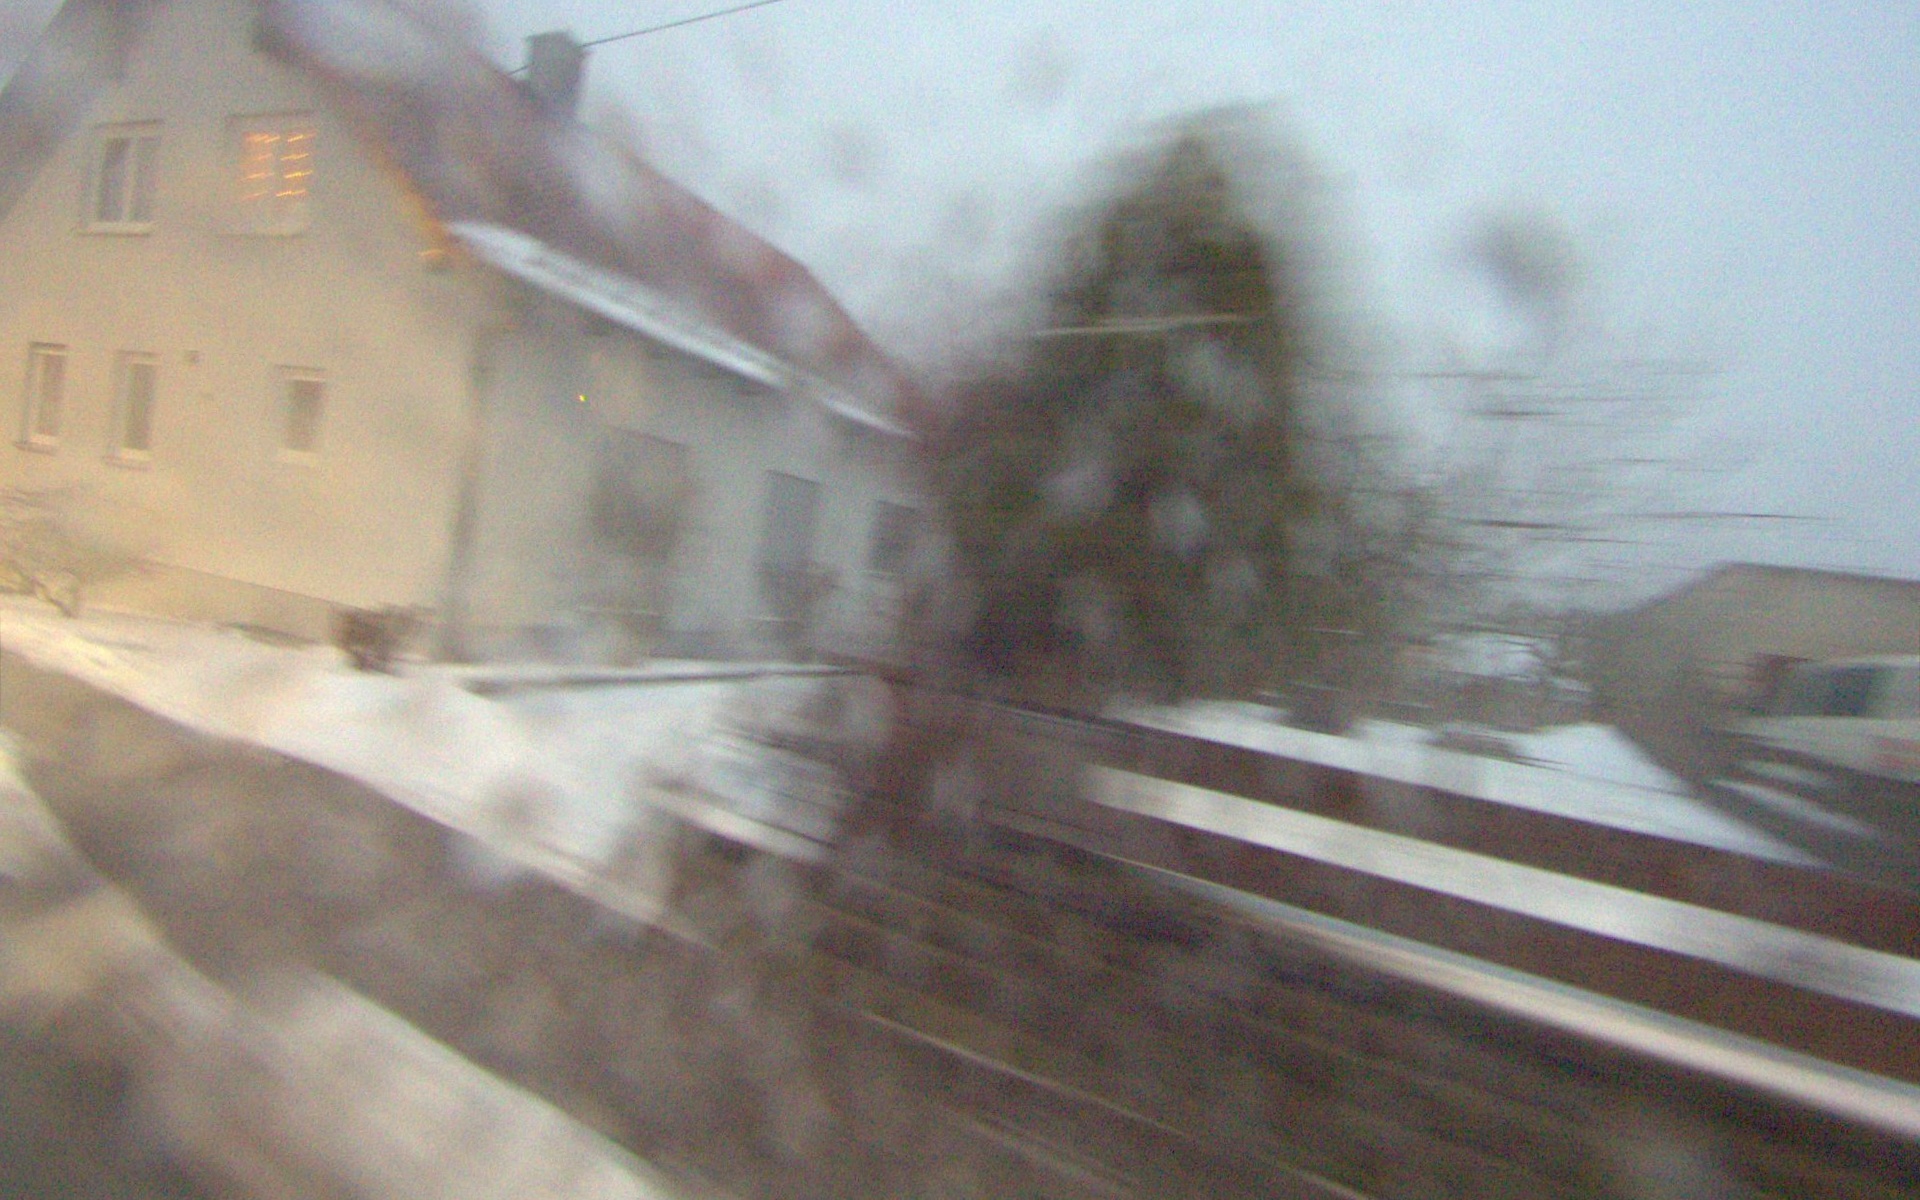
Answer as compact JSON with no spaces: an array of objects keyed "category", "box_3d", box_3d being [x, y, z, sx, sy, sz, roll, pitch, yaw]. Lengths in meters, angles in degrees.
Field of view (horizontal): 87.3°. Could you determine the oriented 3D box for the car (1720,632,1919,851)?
[{"category":"car","box_3d":[10.178,1.540,10.817,1.963,1.948,4.387,6,-2,23]}]
